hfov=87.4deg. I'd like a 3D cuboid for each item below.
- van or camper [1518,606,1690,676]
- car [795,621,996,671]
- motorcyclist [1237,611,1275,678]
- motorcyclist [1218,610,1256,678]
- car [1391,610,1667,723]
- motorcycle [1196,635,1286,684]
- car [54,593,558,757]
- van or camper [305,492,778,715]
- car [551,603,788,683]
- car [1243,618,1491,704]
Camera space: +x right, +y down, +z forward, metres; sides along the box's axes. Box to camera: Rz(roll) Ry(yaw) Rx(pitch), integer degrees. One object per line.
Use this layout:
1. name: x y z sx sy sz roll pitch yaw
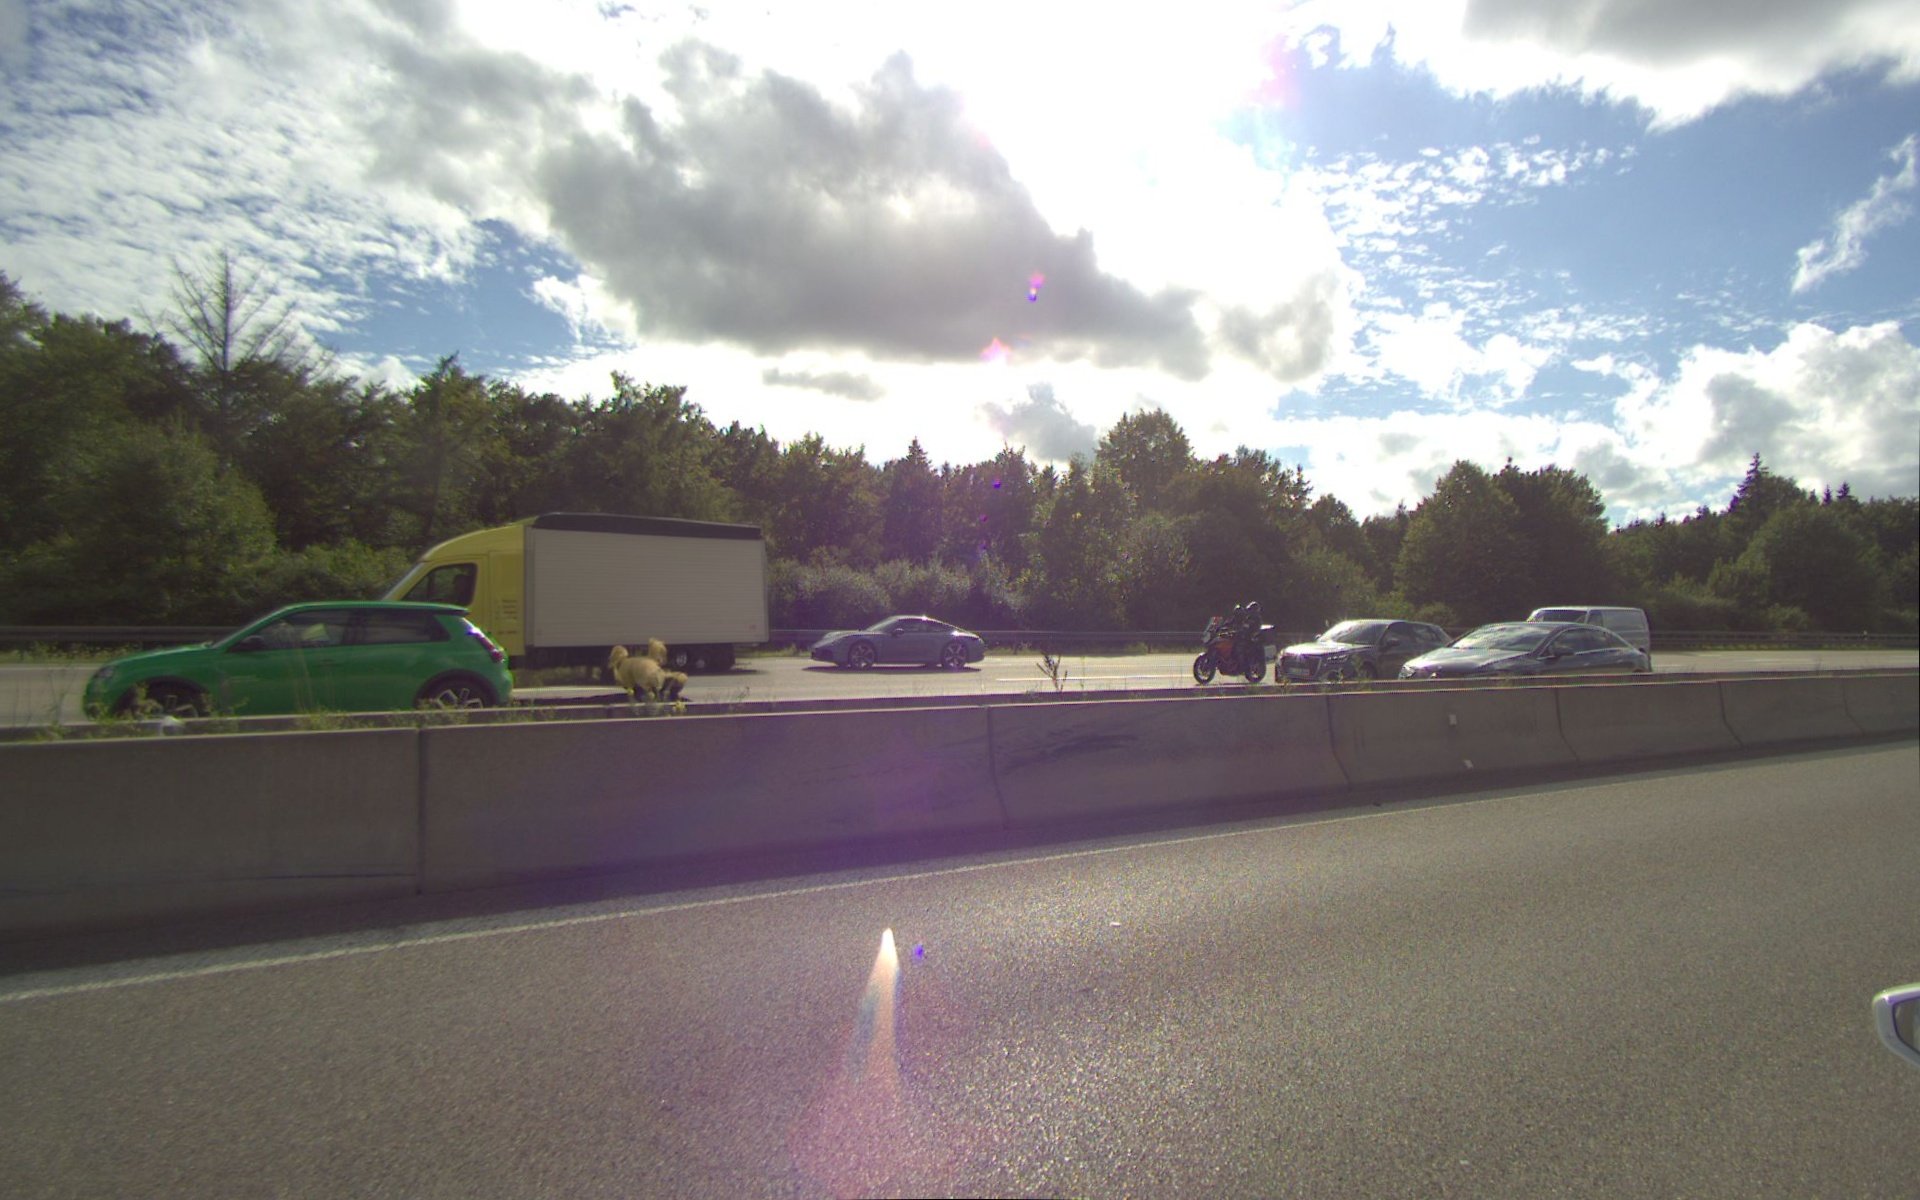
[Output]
1. van or camper: 19.627 1.215 30.571 5.388 1.963 1.986 1 0 -28
2. car: -1.624 1.153 25.441 4.717 1.146 1.931 1 -1 -23
3. motorcyclist: 6.770 1.014 23.006 0.525 1.495 0.600 2 0 -28
4. motorcyclist: 6.263 0.996 22.732 0.525 1.495 0.600 2 0 -28
5. car: 9.267 1.002 16.266 4.608 1.572 1.854 1 0 -31
6. motorcycle: 6.385 1.343 22.803 2.148 1.053 0.607 1 0 -29
7. car: -6.812 0.746 10.995 4.279 1.490 1.775 1 -2 -30
8. van or camper: -6.348 0.109 15.820 6.428 2.930 2.363 1 0 -30
9. car: -6.004 0.862 20.844 4.352 1.490 2.044 1 -1 -30
10. car: 8.146 1.153 20.033 4.729 1.490 2.161 1 -1 -30
